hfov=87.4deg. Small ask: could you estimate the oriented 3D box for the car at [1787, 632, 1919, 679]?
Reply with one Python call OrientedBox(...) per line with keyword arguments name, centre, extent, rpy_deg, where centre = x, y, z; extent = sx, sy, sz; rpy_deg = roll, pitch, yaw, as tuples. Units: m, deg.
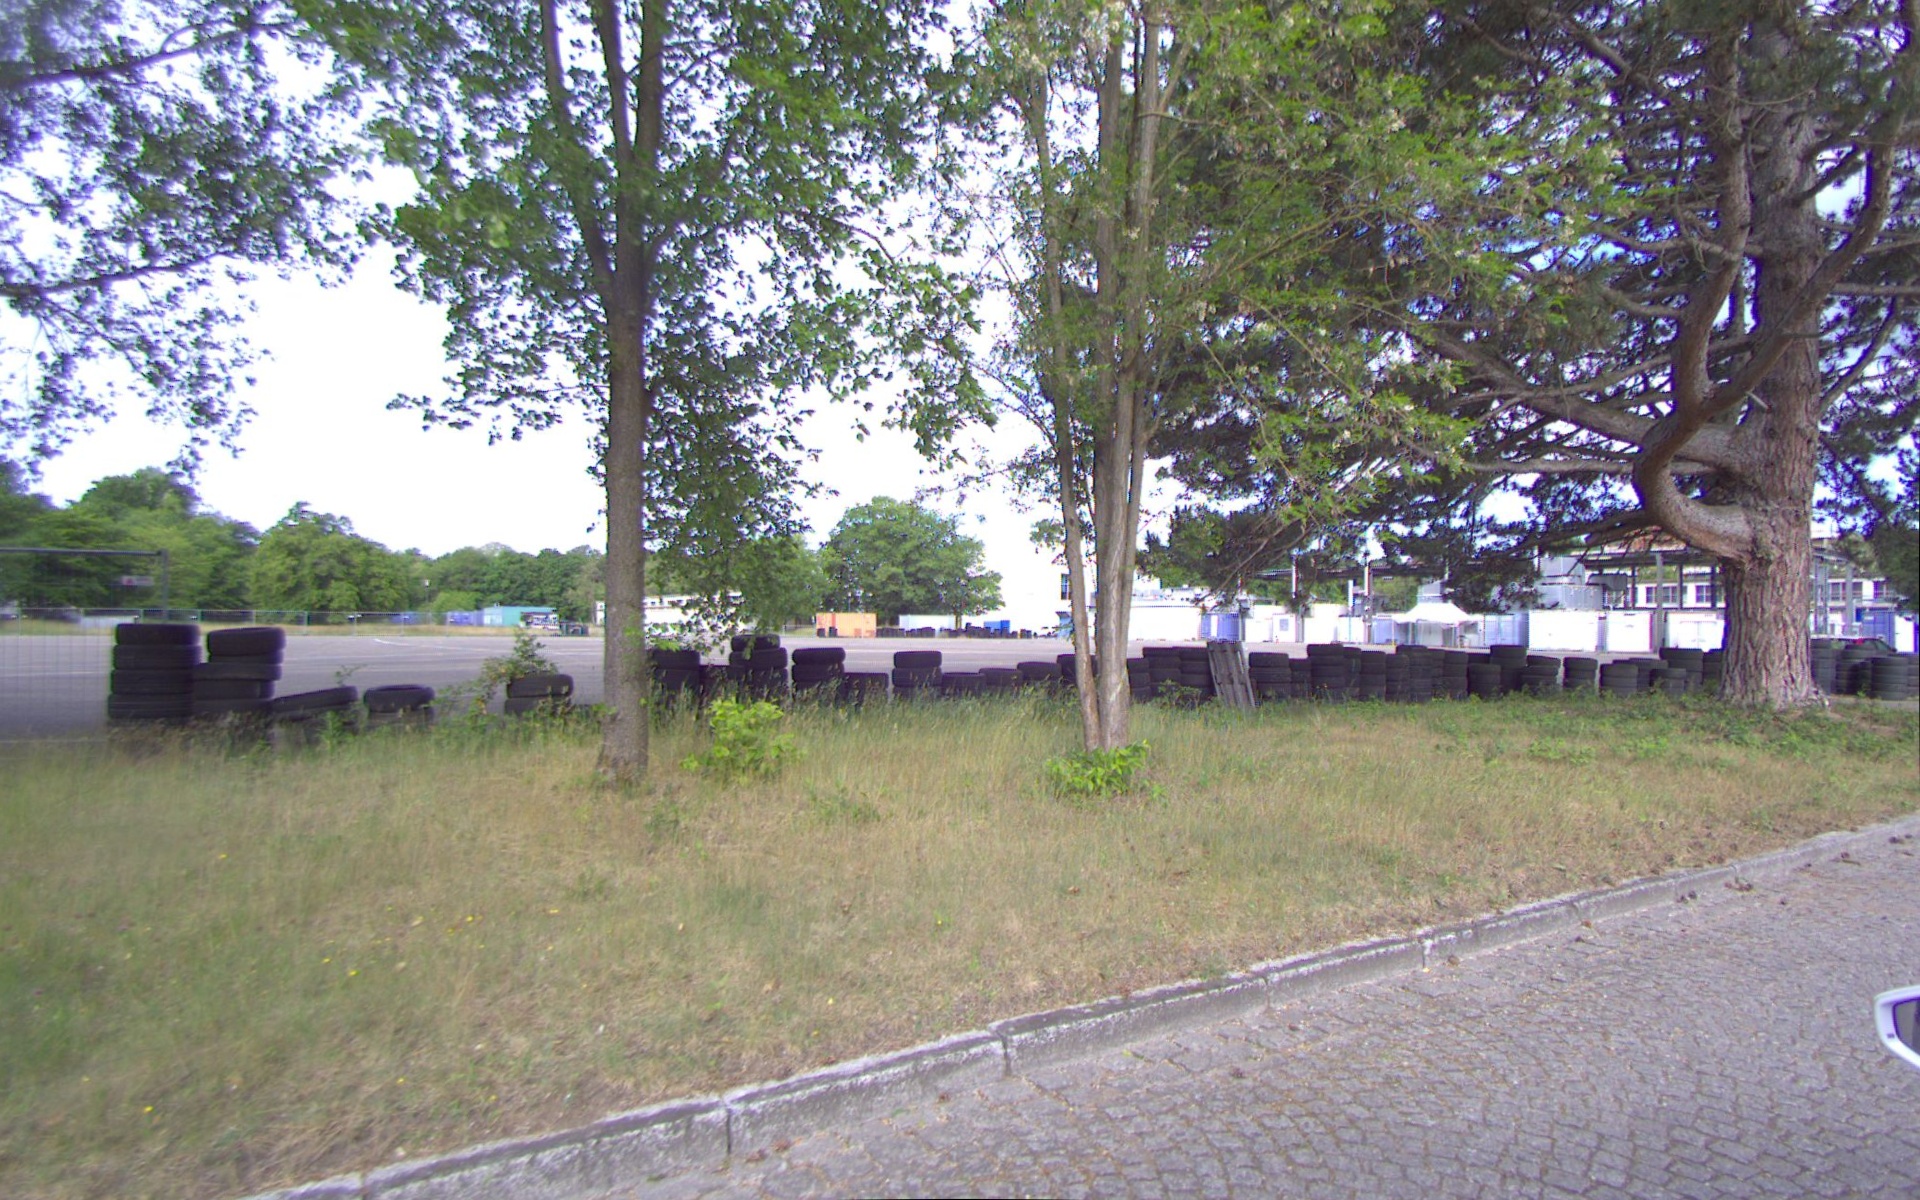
OrientedBox(name="car", centre=(29.368, 1.790, 32.974), extent=(4.161, 1.450, 1.819), rpy_deg=(1, -1, -25))
